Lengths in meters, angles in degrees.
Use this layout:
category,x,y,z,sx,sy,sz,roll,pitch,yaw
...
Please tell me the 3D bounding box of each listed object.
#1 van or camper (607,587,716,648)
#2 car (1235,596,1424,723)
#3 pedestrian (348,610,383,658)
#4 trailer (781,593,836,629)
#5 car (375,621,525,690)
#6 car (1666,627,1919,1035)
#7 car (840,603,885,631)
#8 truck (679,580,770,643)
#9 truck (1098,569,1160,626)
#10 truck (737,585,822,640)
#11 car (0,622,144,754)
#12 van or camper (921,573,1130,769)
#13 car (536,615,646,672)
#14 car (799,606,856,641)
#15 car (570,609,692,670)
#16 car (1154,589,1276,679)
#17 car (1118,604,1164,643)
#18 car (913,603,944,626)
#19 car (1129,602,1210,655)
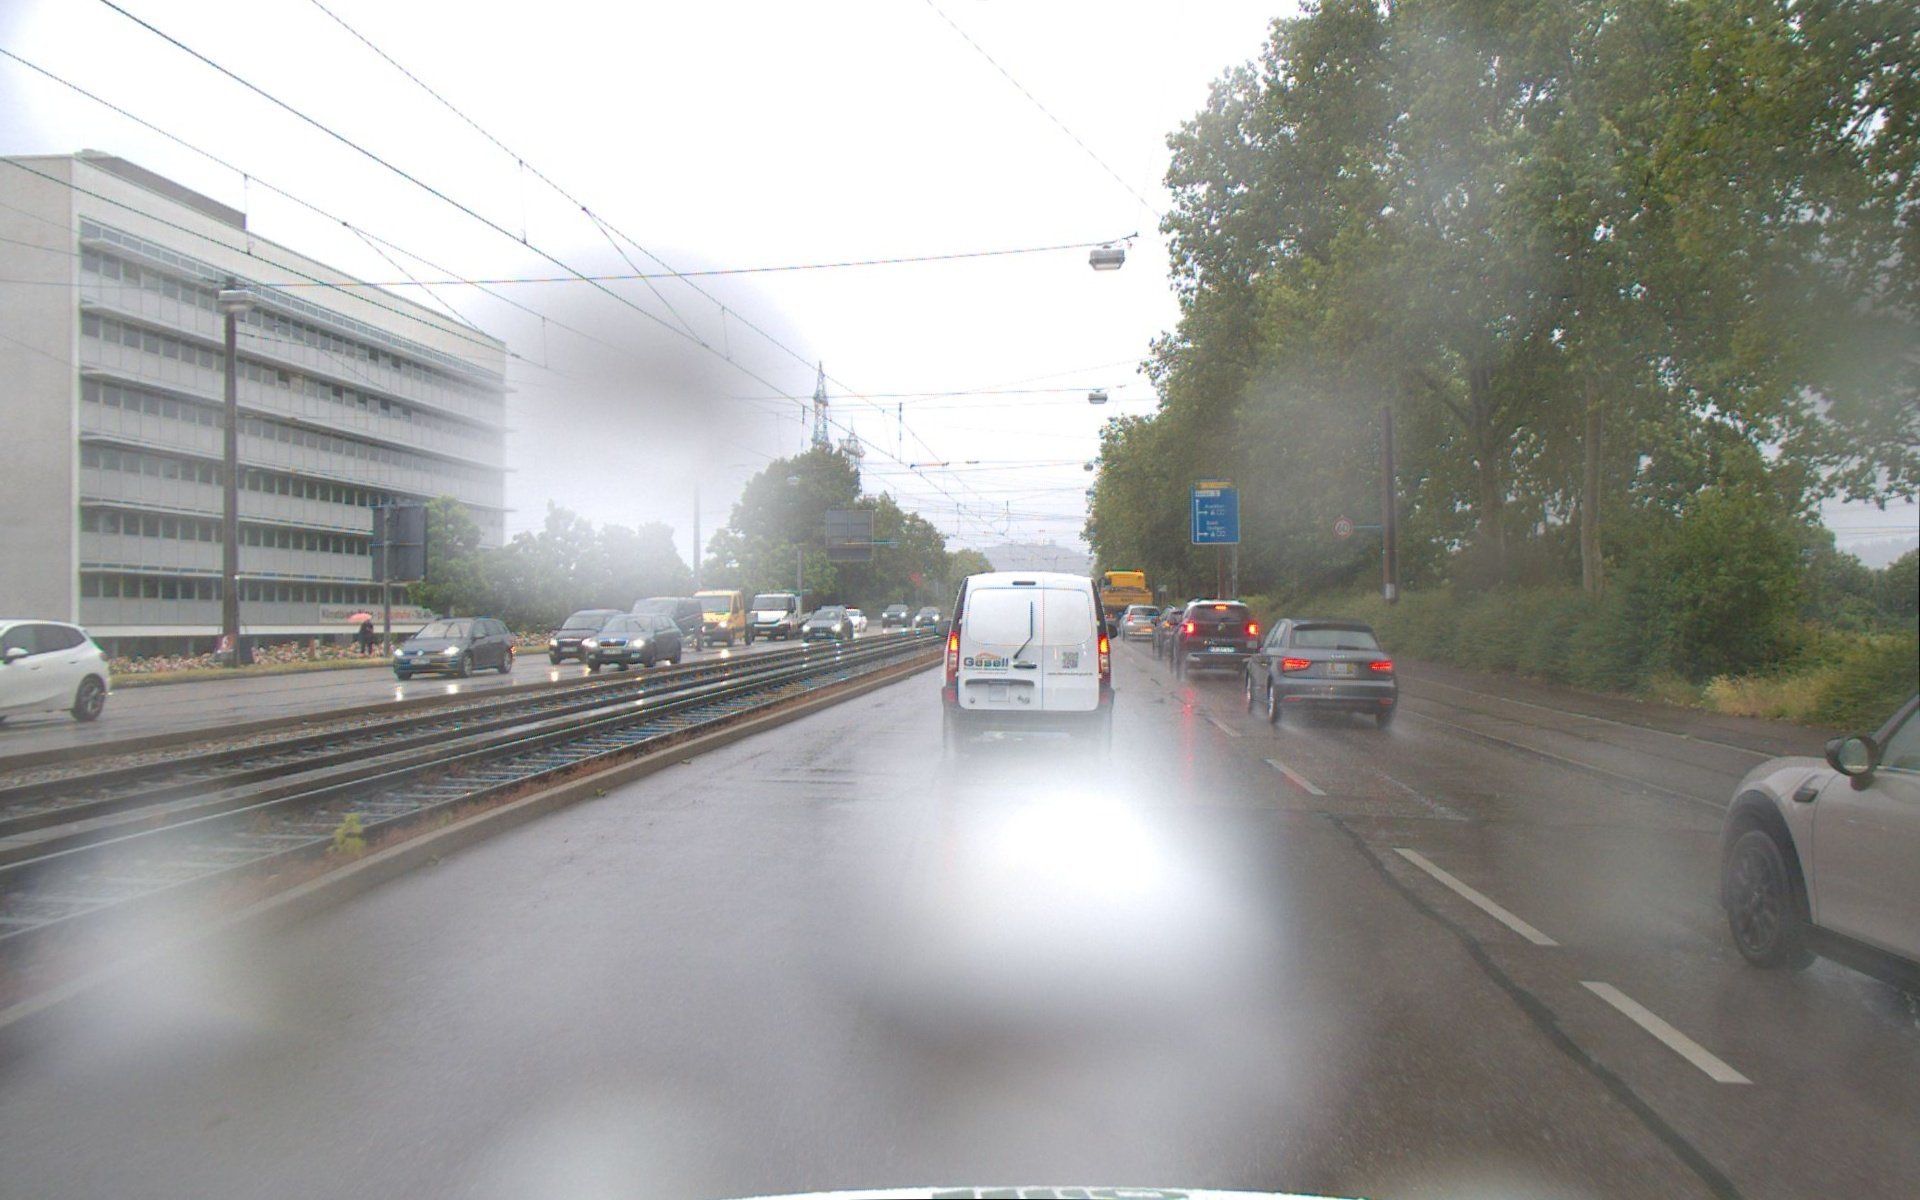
category,x,y,z,sx,sy,sz,roll,pitch,yaw
van or camper,-10.667,0.614,59.650,2.256,2.049,5.690,1,0,7
car,5.026,0.756,23.030,1.926,1.555,3.993,1,1,3
pedestrian,-22.791,1.304,63.457,0.805,1.793,1.050,2,-1,7
trailer,-7.980,0.575,87.259,2.074,1.824,3.839,1,0,7
car,-12.753,1.362,41.641,1.922,1.543,4.557,-2,-1,6
car,4.301,0.862,6.022,1.755,1.438,3.853,2,-1,-1
car,-6.072,1.060,103.218,1.951,1.611,4.770,-2,0,7
truck,-9.968,0.466,70.443,2.180,2.505,6.071,1,0,8
truck,8.751,-0.144,86.060,3.047,2.822,6.332,0,0,4
truck,-8.793,0.610,81.349,2.383,2.501,7.224,1,0,8
car,-14.524,1.283,24.754,1.951,1.866,4.696,-1,0,6
van or camper,0.696,0.643,17.714,1.952,1.815,4.002,1,1,2
car,-11.446,1.304,51.648,1.818,1.646,4.911,-2,-1,6
car,-6.071,1.066,76.179,1.819,1.520,4.692,-2,-1,5
car,-8.855,1.041,44.894,1.951,1.482,4.674,-3,-1,5
car,5.378,0.671,35.404,1.860,1.747,4.725,1,1,0
car,7.307,0.937,66.880,1.780,1.438,3.781,1,1,5
car,-2.244,1.031,119.786,1.780,1.651,4.538,0,0,5
car,6.112,0.807,48.594,1.781,1.438,3.777,1,1,-2
